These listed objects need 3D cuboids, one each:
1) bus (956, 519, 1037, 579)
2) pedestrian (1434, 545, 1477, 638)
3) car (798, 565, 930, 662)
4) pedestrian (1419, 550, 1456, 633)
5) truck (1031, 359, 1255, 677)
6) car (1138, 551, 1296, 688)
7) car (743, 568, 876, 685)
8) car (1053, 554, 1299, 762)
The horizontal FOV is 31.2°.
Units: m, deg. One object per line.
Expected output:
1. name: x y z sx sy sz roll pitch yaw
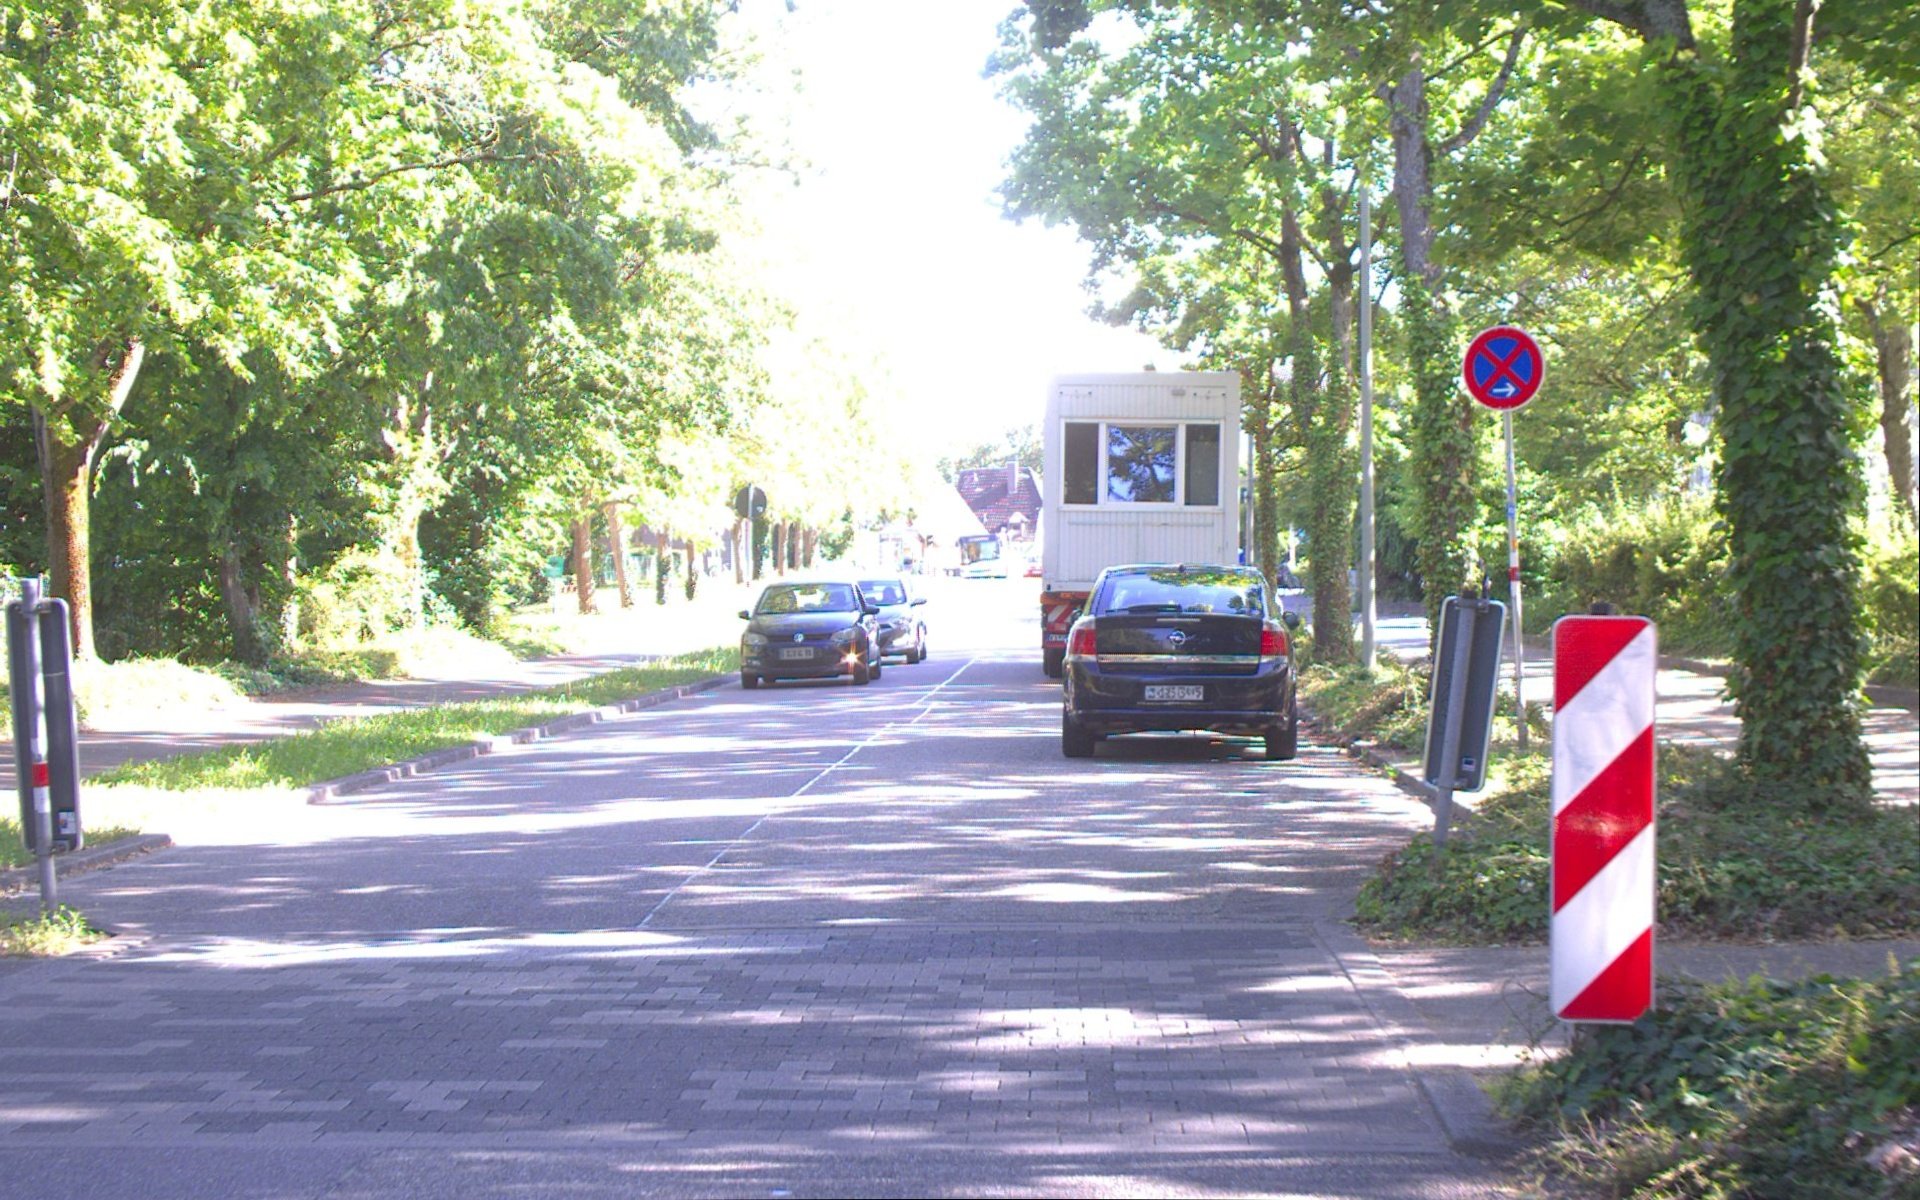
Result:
1. bus: 2.242 -3.046 203.878 4.066 3.337 9.799 -2 1 4
2. pedestrian: 9.754 -0.173 67.684 0.698 1.806 0.700 -2 1 -1
3. car: -1.545 0.198 56.670 1.755 1.449 4.242 -2 1 4
4. pedestrian: 9.400 -0.171 67.672 0.598 1.605 0.600 -2 1 -1
5. truck: 2.454 -1.115 48.734 2.773 3.982 10.348 1 1 2
6. car: 2.905 0.181 38.910 1.640 1.415 4.000 -2 1 4
7. car: -1.982 0.323 46.008 1.601 1.421 3.652 -2 1 0
8. car: 1.683 0.411 26.624 1.748 1.475 4.030 0 0 4
